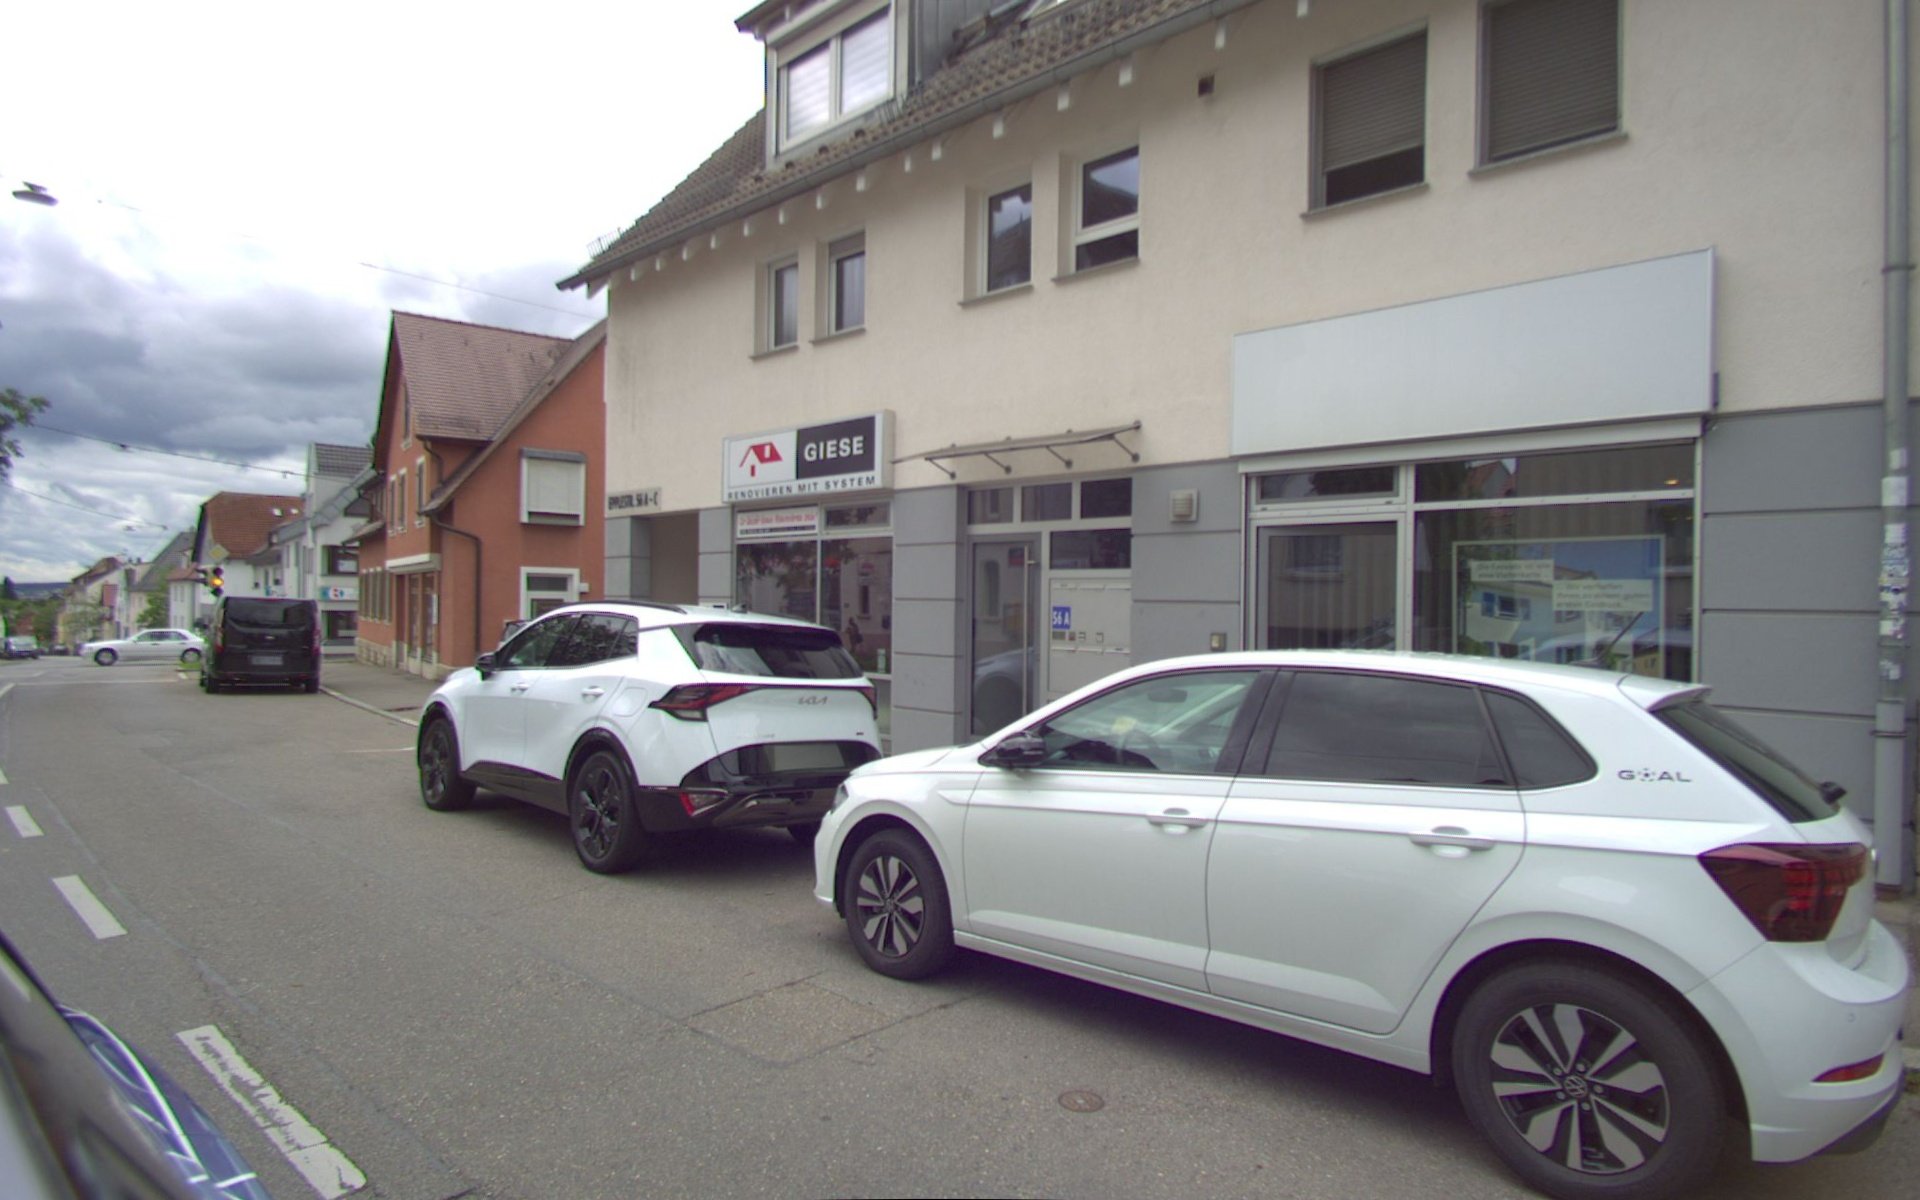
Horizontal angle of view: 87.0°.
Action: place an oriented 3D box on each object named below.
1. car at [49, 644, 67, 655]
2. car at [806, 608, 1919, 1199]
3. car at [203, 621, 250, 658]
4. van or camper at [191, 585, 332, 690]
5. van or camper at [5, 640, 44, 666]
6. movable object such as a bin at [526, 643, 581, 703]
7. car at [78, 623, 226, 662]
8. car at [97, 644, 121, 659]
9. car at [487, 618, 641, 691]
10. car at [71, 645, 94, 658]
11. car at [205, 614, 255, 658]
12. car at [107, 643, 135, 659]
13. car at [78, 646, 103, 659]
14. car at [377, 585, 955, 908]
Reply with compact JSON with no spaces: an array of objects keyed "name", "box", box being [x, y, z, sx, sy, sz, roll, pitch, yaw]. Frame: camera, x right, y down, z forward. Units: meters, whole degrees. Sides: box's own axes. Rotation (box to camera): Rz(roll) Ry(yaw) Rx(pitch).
[{"name":"car","box":[-130.542,7.172,146.444,3.736,1.544,1.682,-3,-6,44]},{"name":"car","box":[1.419,0.786,4.039,3.917,1.447,1.977,-1,-1,41]},{"name":"car","box":[-39.323,2.153,54.252,1.711,1.846,4.305,3,-5,-39]},{"name":"van or camper","box":[-15.261,0.859,21.991,2.047,2.021,4.866,3,-4,-39]},{"name":"van or camper","box":[-77.434,4.389,83.718,5.064,2.029,1.972,-3,-1,43]},{"name":"movable object such as a bin","box":[-7.203,1.278,17.925,0.657,1.026,0.796,2,-3,-42]},{"name":"car","box":[-32.382,1.745,40.626,4.498,1.456,2.002,3,-4,-42]},{"name":"car","box":[-84.900,5.116,100.968,1.630,1.458,3.777,3,-4,-43]},{"name":"car","box":[-8.664,1.131,22.161,2.792,1.486,1.746,1,-1,-36]},{"name":"car","box":[-104.103,6.125,120.020,3.736,1.544,1.682,-3,-6,44]},{"name":"car","box":[-35.943,1.833,49.787,1.788,2.021,4.773,3,-4,-37]},{"name":"car","box":[-81.052,4.928,97.765,3.812,1.458,1.631,-3,-4,44]},{"name":"car","box":[-96.027,5.794,111.801,3.736,1.421,1.682,-3,-6,44]},{"name":"car","box":[-2.474,0.789,7.574,4.858,1.645,1.976,-1,-1,43]}]
